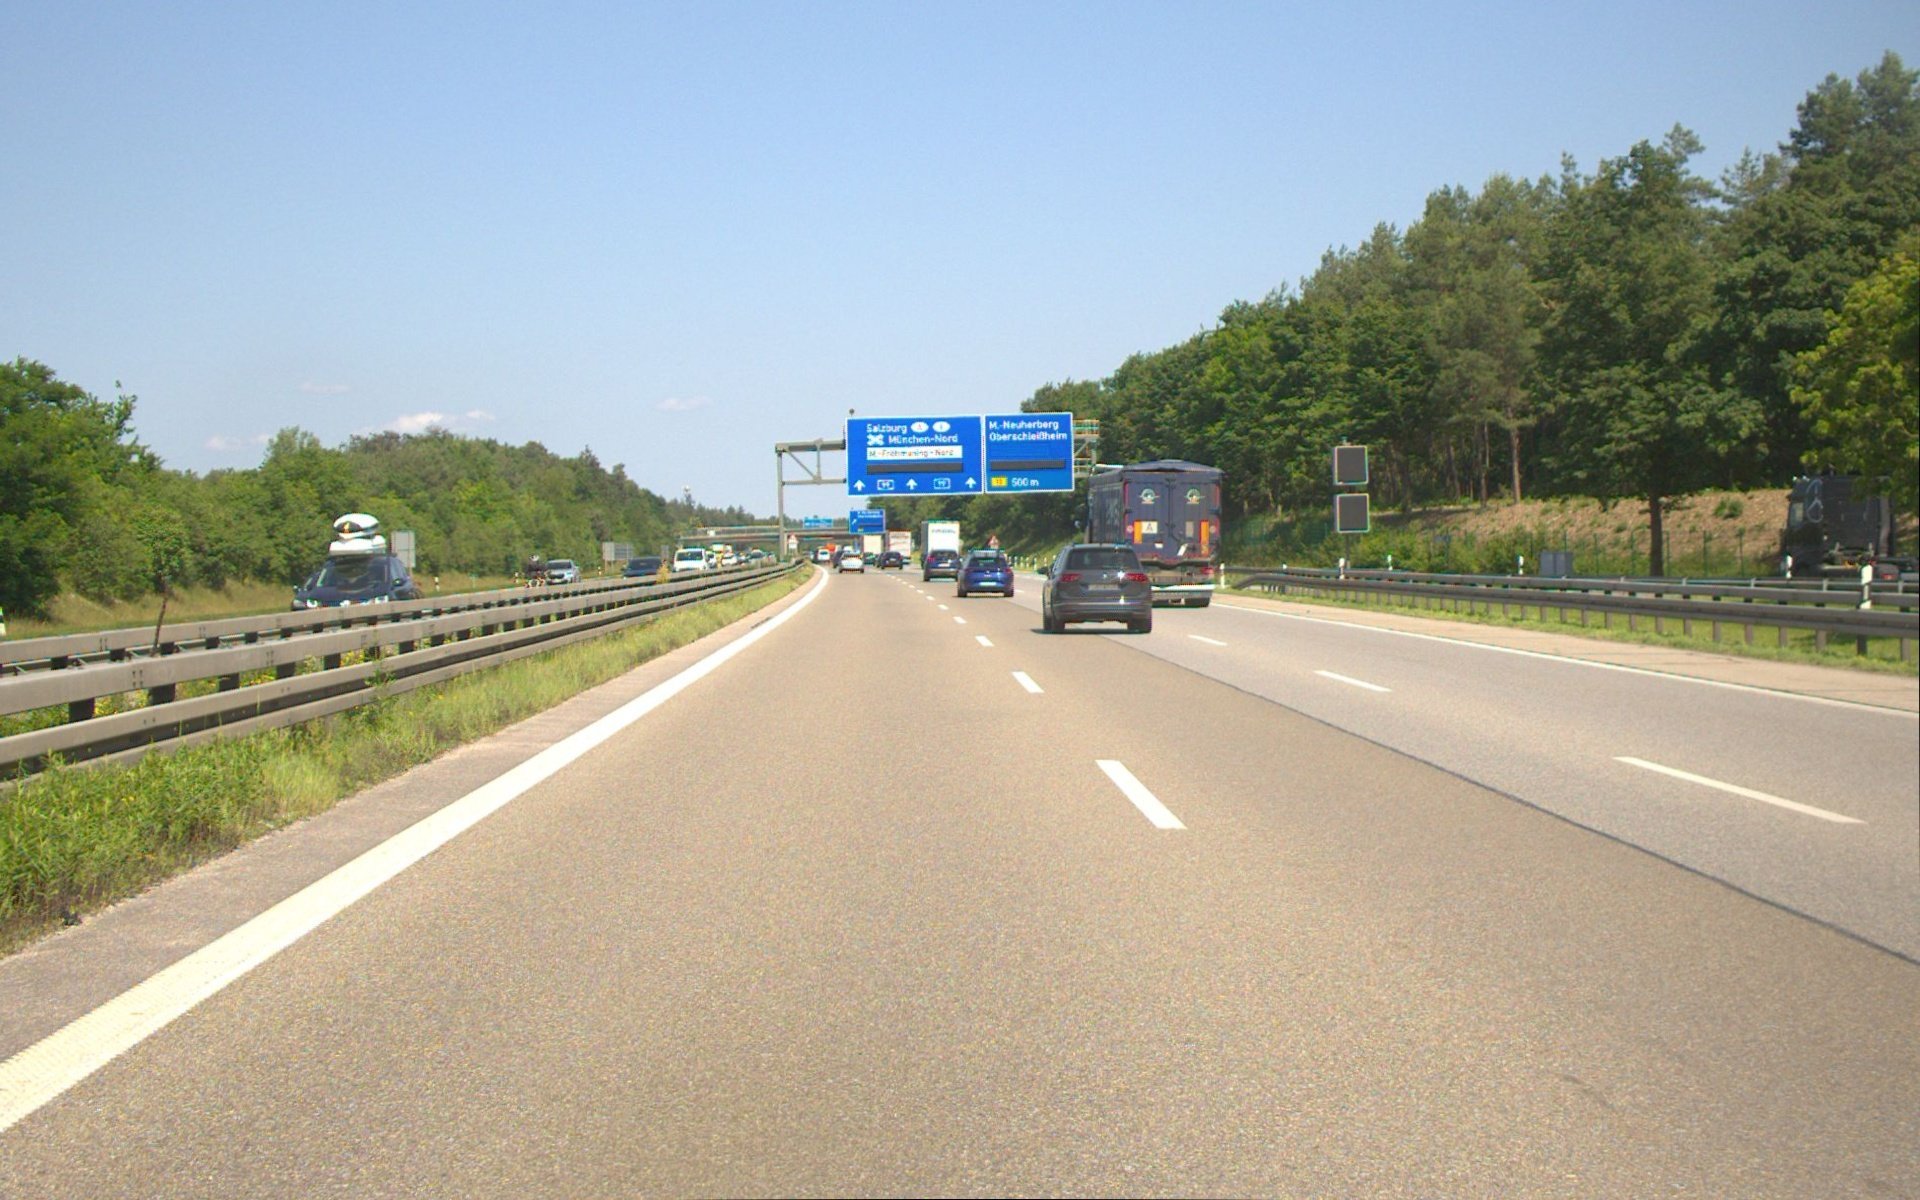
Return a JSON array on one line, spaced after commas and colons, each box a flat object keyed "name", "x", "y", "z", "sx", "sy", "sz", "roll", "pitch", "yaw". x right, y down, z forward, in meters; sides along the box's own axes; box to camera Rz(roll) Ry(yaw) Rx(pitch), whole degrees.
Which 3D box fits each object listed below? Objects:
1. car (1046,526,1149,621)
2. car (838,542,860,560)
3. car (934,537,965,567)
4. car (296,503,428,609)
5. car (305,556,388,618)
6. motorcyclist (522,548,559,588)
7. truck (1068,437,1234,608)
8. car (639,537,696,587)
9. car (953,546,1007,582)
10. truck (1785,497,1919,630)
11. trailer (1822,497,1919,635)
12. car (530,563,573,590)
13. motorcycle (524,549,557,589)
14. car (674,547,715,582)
[{"name": "car", "x": 2.523, "y": -0.508, "z": 63.167, "sx": 1.799, "sy": 1.663, "sz": 4.258, "roll": 1, "pitch": 1, "yaw": 2}, {"name": "car", "x": -7.819, "y": -3.451, "z": 241.918, "sx": 1.471, "sy": 1.223, "sz": 3.410, "roll": 0, "pitch": 1, "yaw": 0}, {"name": "car", "x": -0.526, "y": -2.396, "z": 171.019, "sx": 1.471, "sy": 1.393, "sz": 3.410, "roll": 2, "pitch": 1, "yaw": 0}, {"name": "car", "x": -12.469, "y": -0.916, "z": 71.927, "sx": 1.993, "sy": 2.102, "sz": 4.302, "roll": -1, "pitch": 1, "yaw": -1}, {"name": "car", "x": -15.531, "y": -0.345, "z": 87.150, "sx": 1.513, "sy": 1.481, "sz": 3.373, "roll": -1, "pitch": 1, "yaw": -1}, {"name": "motorcyclist", "x": -11.501, "y": -0.882, "z": 94.333, "sx": 0.875, "sy": 1.072, "sz": 0.811, "roll": -2, "pitch": 0, "yaw": 0}, {"name": "truck", "x": 5.171, "y": -2.105, "z": 96.098, "sx": 3.780, "sy": 4.407, "sz": 14.051, "roll": 0, "pitch": 1, "yaw": 0}, {"name": "car", "x": -11.931, "y": -1.567, "z": 140.286, "sx": 1.993, "sy": 2.007, "sz": 4.000, "roll": -1, "pitch": 1, "yaw": -1}, {"name": "car", "x": 0.653, "y": -1.195, "z": 112.293, "sx": 1.709, "sy": 1.151, "sz": 3.689, "roll": 0, "pitch": 1, "yaw": 0}, {"name": "truck", "x": 27.149, "y": -1.097, "z": 103.466, "sx": 2.571, "sy": 3.901, "sz": 4.867, "roll": 0, "pitch": 1, "yaw": -14}, {"name": "trailer", "x": 28.664, "y": -0.957, "z": 97.319, "sx": 2.571, "sy": 3.901, "sz": 12.753, "roll": 0, "pitch": 1, "yaw": -14}, {"name": "car", "x": -21.936, "y": -1.273, "z": 184.856, "sx": 1.788, "sy": 1.434, "sz": 4.521, "roll": 0, "pitch": 1, "yaw": 0}, {"name": "motorcycle", "x": -11.492, "y": -0.850, "z": 94.262, "sx": 0.664, "sy": 1.072, "sz": 1.881, "roll": -2, "pitch": 1, "yaw": 0}, {"name": "car", "x": -14.741, "y": -1.951, "z": 190.840, "sx": 1.920, "sy": 1.866, "sz": 5.517, "roll": 0, "pitch": 0, "yaw": -1}]
